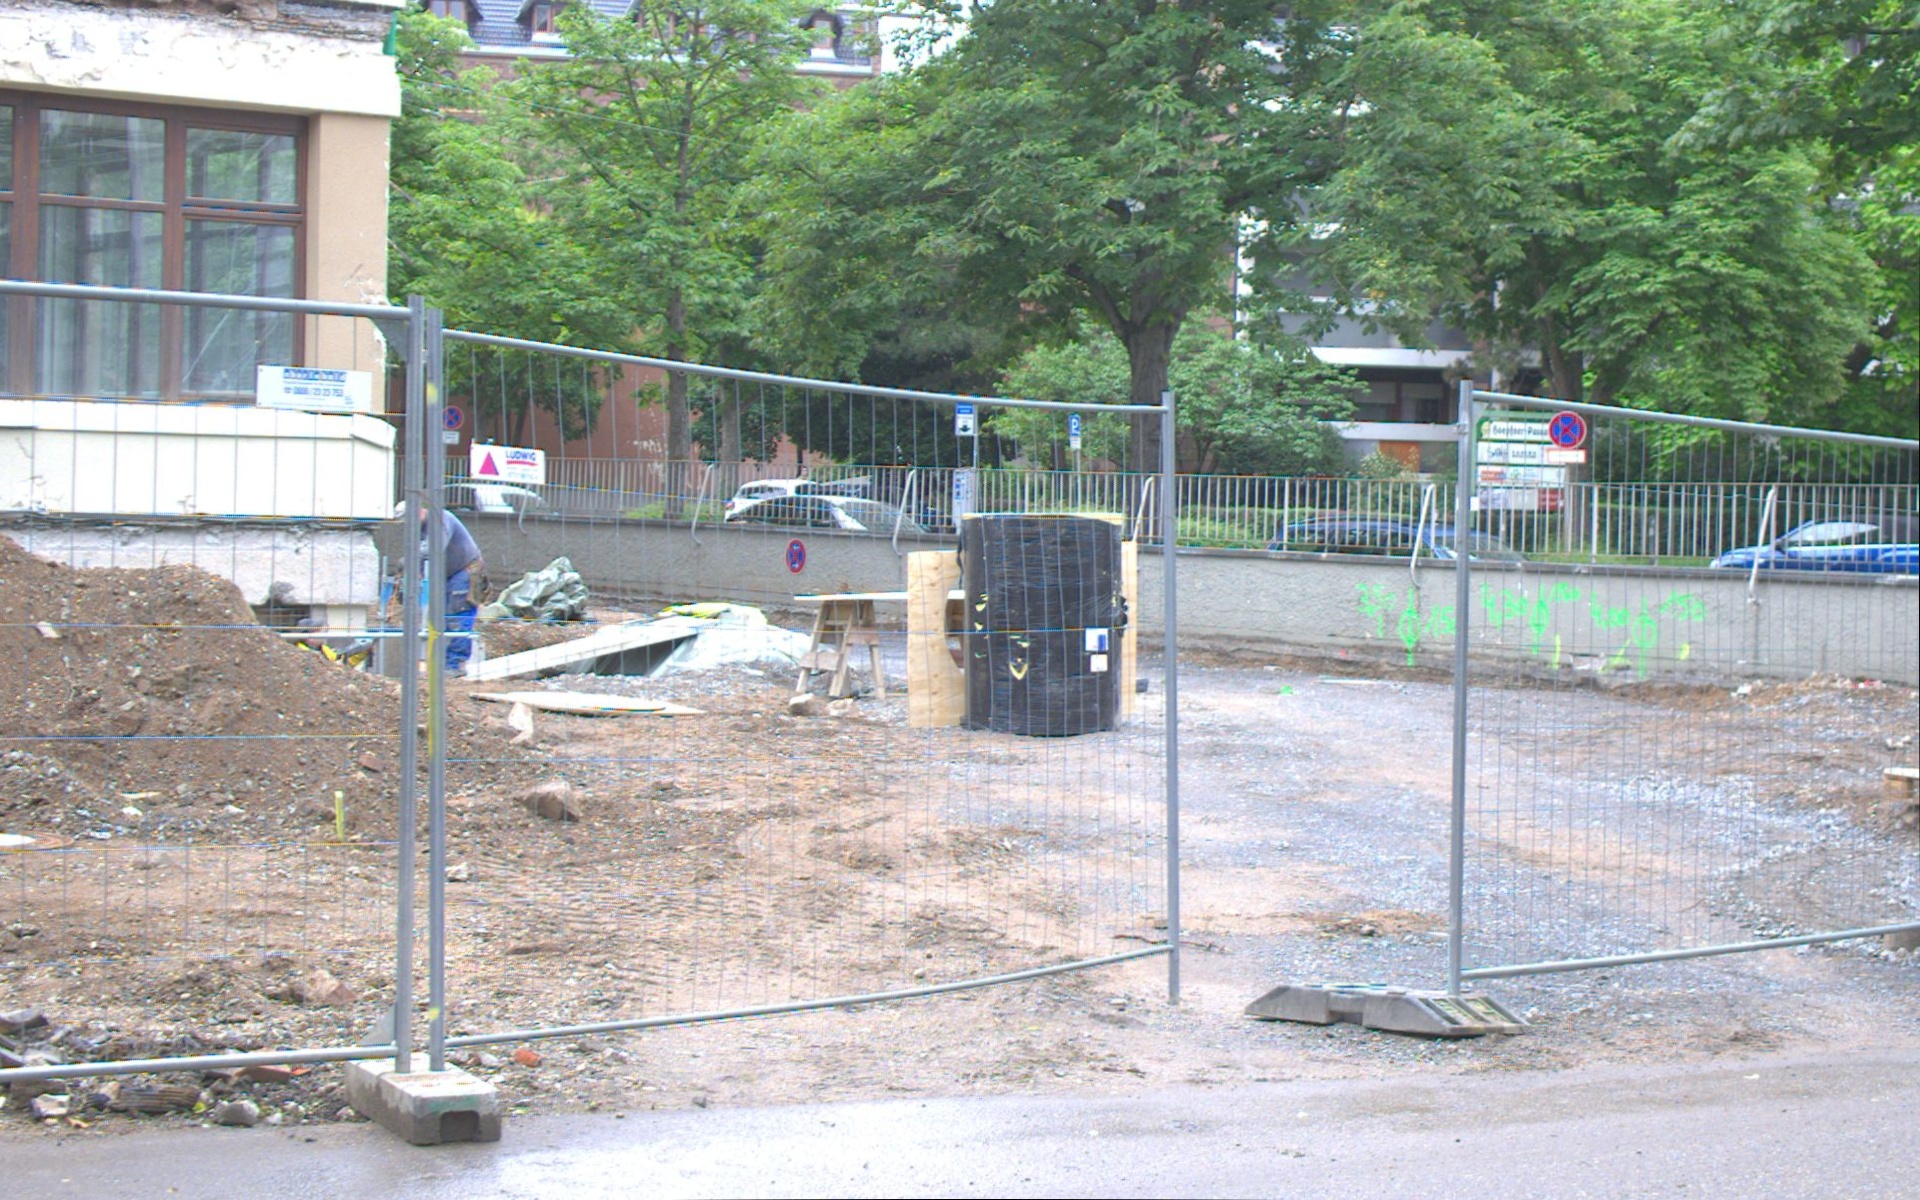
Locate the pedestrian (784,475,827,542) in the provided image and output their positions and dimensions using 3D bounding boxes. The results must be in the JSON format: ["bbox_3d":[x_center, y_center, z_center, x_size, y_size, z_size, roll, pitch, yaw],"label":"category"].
[{"bbox_3d":[-3.599,-2.125,80.063,0.522,1.522,0.842,3,2,40],"label":"pedestrian"}]

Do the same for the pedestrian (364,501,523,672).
[{"bbox_3d":[-4.467,-0.123,29.747,0.980,1.433,0.930,1,1,-42],"label":"pedestrian"}]

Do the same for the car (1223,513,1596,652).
[{"bbox_3d":[5.017,-0.229,38.780,1.828,1.413,3.999,0,2,-39],"label":"car"}]

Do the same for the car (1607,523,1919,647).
[{"bbox_3d":[10.818,-0.230,46.380,1.598,1.514,3.999,0,2,-38],"label":"car"}]
